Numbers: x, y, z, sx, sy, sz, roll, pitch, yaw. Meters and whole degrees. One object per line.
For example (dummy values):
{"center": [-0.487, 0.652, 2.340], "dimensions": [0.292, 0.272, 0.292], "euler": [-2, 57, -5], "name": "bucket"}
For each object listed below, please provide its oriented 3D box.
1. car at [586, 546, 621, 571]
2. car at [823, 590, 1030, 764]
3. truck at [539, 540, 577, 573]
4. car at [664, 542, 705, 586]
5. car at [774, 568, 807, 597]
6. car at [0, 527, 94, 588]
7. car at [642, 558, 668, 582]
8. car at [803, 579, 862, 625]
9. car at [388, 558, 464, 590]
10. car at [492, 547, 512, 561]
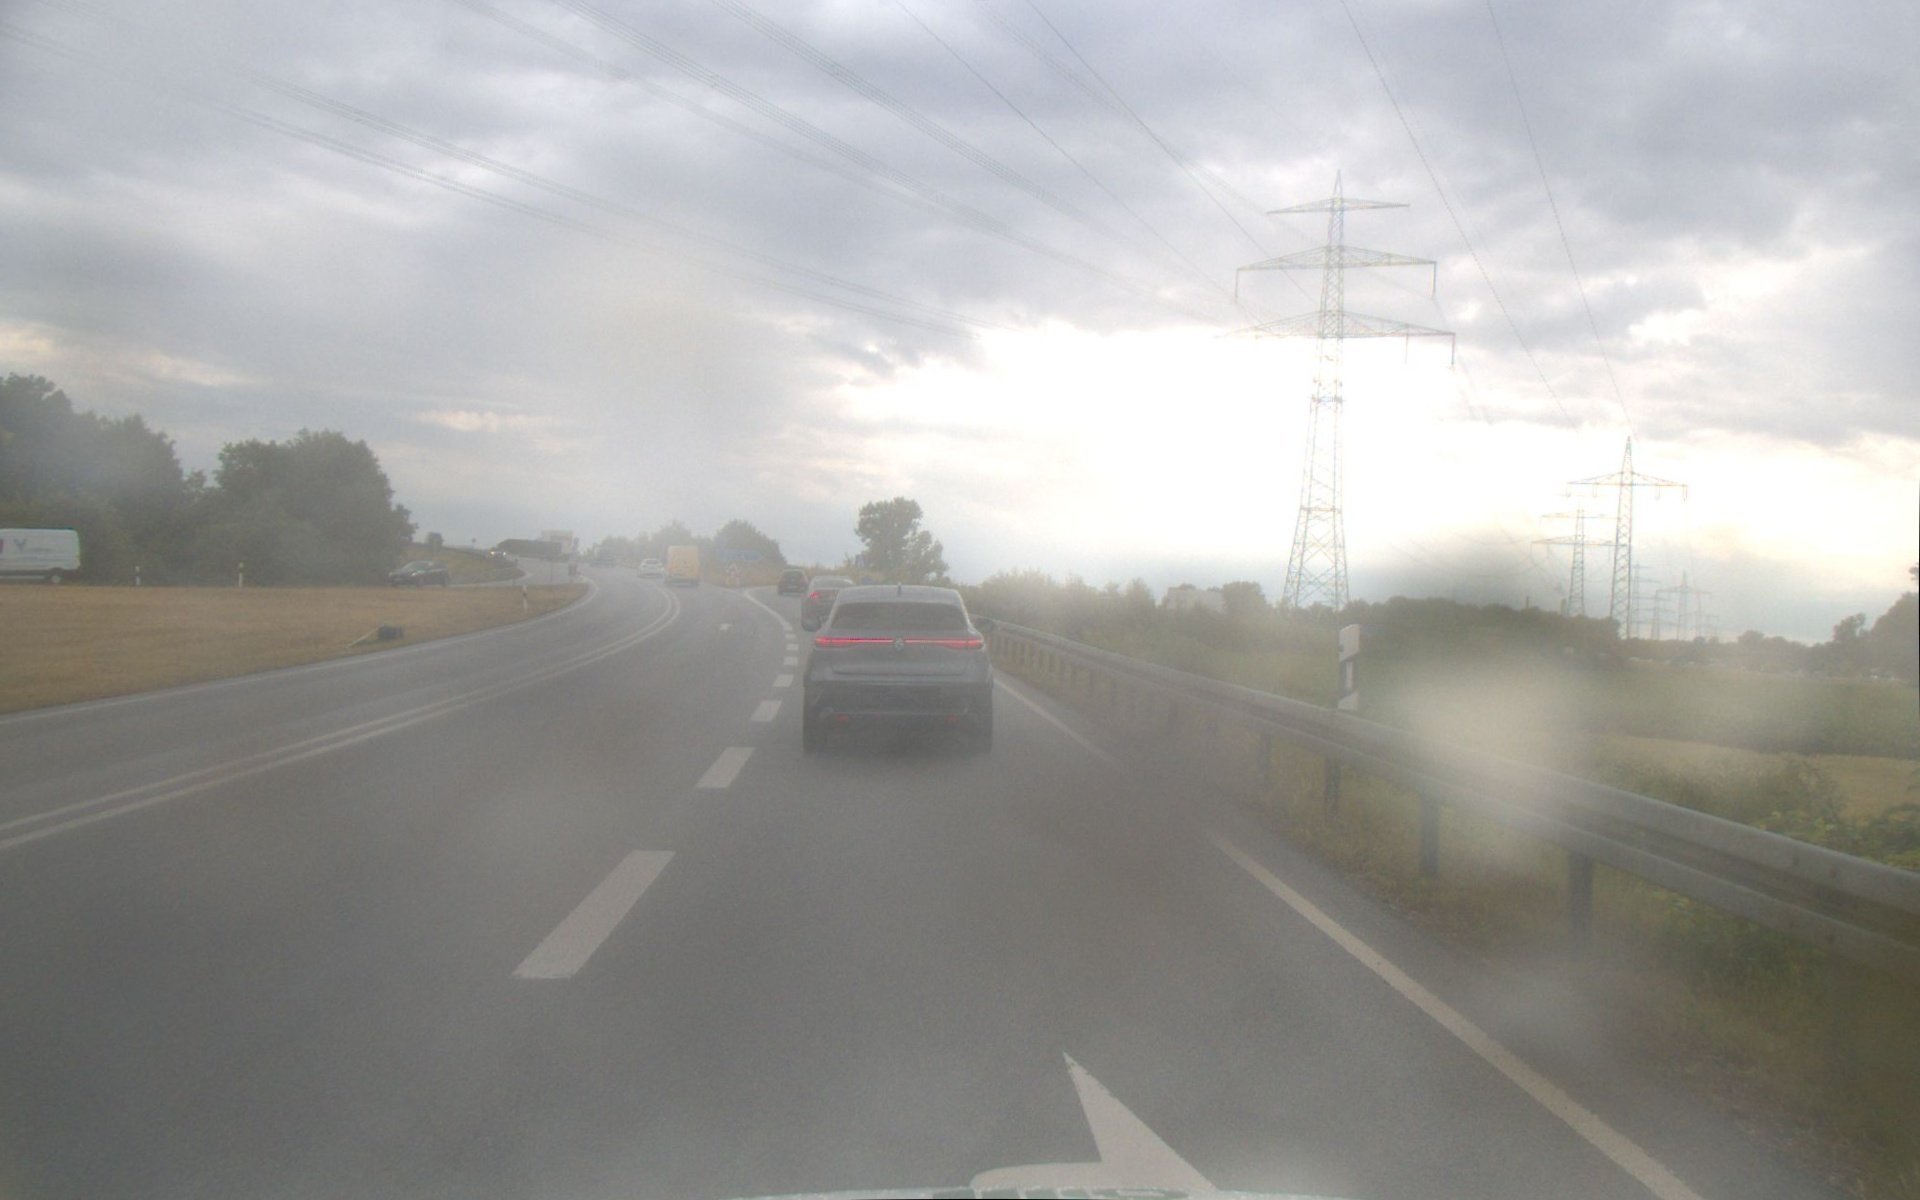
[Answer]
{"center": [-35.955, -4.177, 166.689], "dimensions": [2.565, 2.290, 5.499], "euler": [2, -1, -21], "name": "car"}
{"center": [-0.373, 0.657, 16.154], "dimensions": [1.755, 1.466, 3.998], "euler": [1, 0, -3], "name": "car"}
{"center": [-46.682, -4.998, 191.887], "dimensions": [3.006, 3.444, 7.586], "euler": [2, -1, -24], "name": "truck"}
{"center": [-18.055, -2.305, 108.291], "dimensions": [2.527, 2.773, 7.178], "euler": [-1, 0, -10], "name": "car"}
{"center": [-9.763, -1.008, 95.007], "dimensions": [1.757, 1.568, 3.993], "euler": [0, -1, -7], "name": "car"}
{"center": [-40.219, -1.818, 70.400], "dimensions": [2.397, 2.433, 5.439], "euler": [1, -1, 41], "name": "car"}
{"center": [-23.790, -2.293, 128.878], "dimensions": [1.761, 1.717, 3.985], "euler": [2, -1, -14], "name": "car"}
{"center": [-4.415, 0.056, 56.721], "dimensions": [1.758, 1.466, 3.993], "euler": [1, 1, -8], "name": "car"}
{"center": [-29.398, -1.405, 91.217], "dimensions": [1.940, 1.631, 3.917], "euler": [2, 0, 20], "name": "car"}
{"center": [-51.636, -5.204, 186.299], "dimensions": [1.720, 1.389, 4.023], "euler": [-3, 0, -22], "name": "car"}
